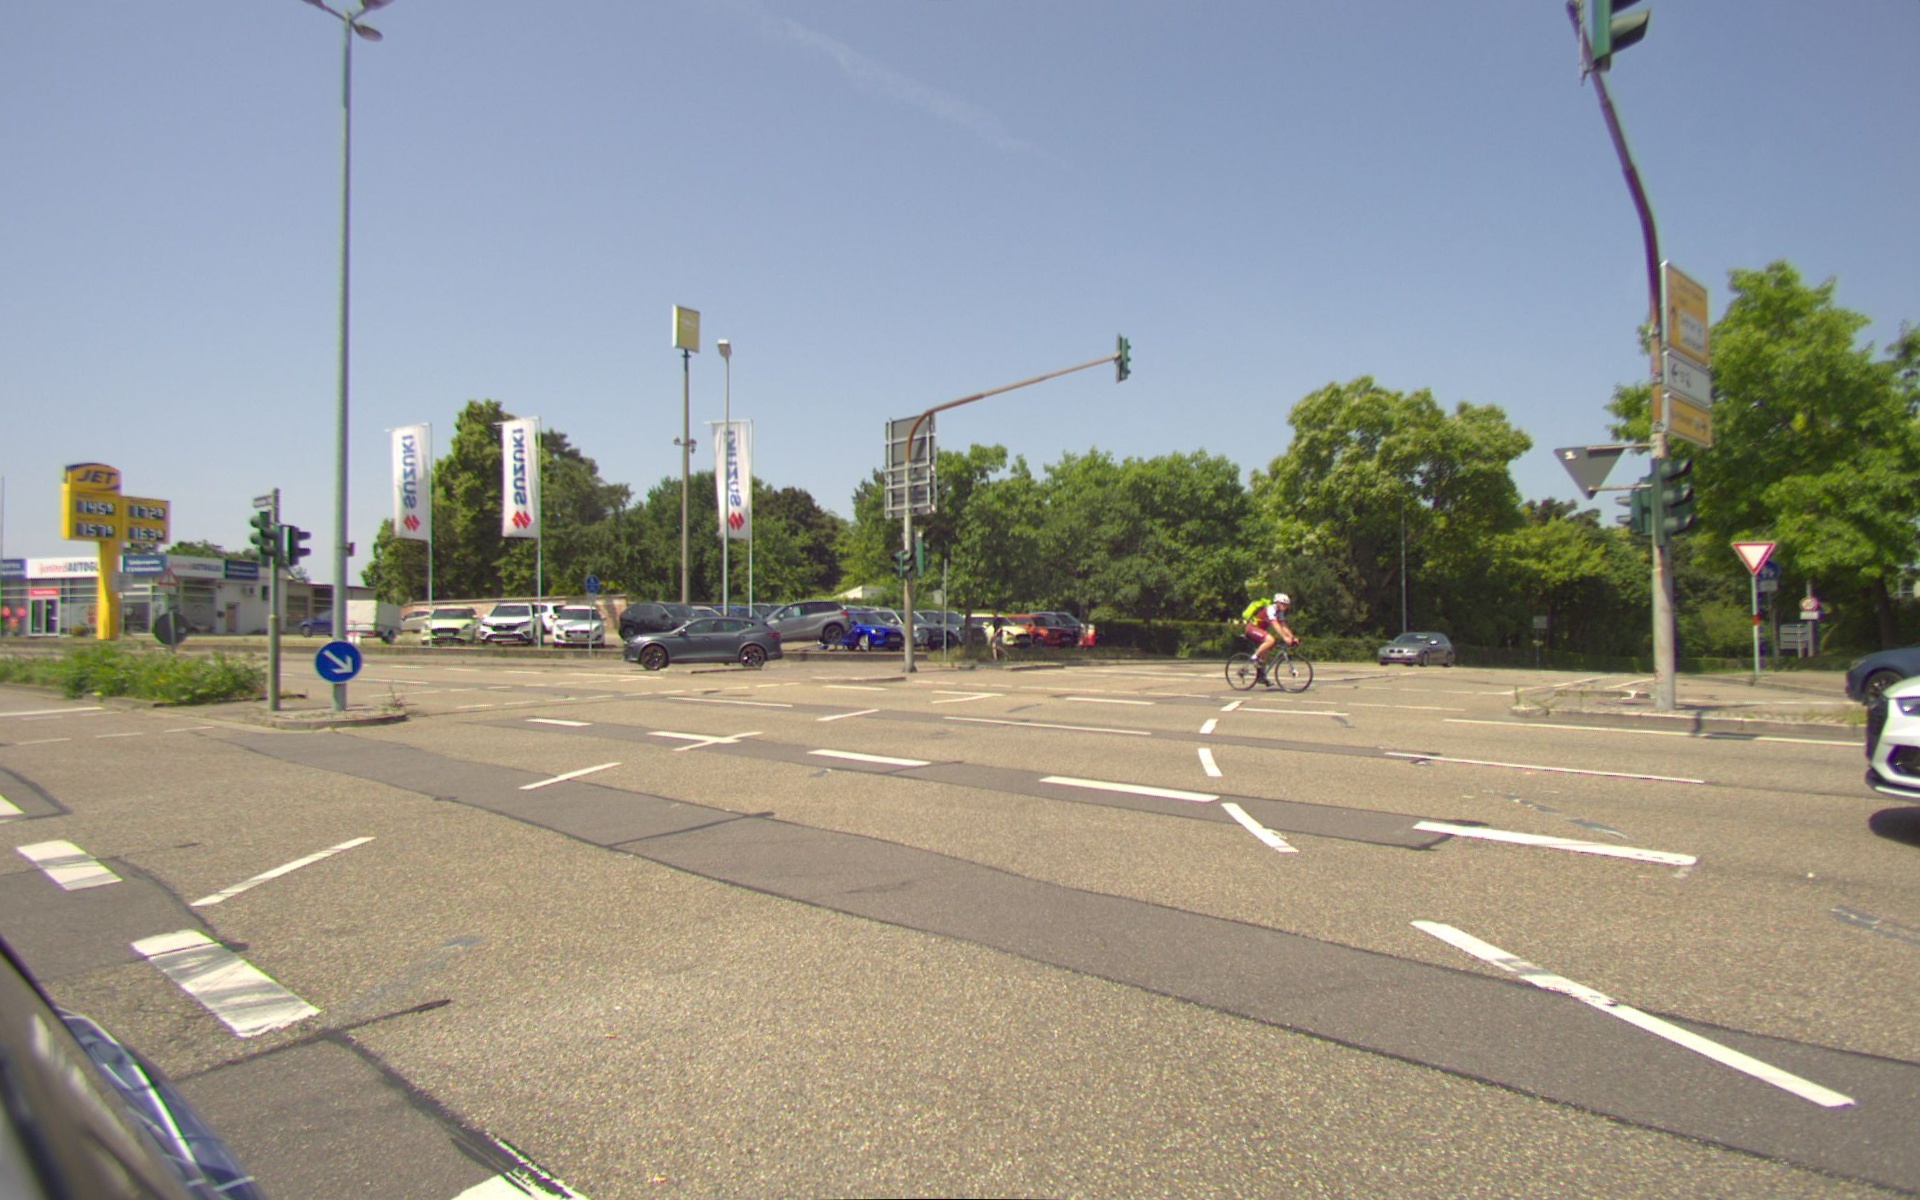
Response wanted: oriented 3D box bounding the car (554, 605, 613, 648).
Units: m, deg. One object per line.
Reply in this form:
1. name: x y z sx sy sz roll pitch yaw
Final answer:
1. car: -13.616 0.924 36.777 1.687 1.443 3.974 1 0 -16

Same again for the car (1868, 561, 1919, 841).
1. car: 7.581 0.539 5.001 4.554 1.582 1.797 -1 -2 42

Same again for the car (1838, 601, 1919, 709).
1. car: 13.828 0.734 12.682 1.471 1.460 4.280 0 0 -9

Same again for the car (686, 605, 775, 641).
1. car: -10.356 1.029 45.615 3.993 1.548 1.774 -1 0 37

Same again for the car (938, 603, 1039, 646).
1. car: 1.190 1.024 43.074 3.993 1.720 1.884 -1 0 37

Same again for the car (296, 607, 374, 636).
1. car: -33.856 1.169 54.806 3.601 1.517 1.684 -1 -1 18

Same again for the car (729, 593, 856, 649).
1. car: -6.025 0.755 36.301 4.236 1.916 1.835 1 -1 -17

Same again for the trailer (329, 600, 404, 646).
1. trailer: -22.902 0.860 39.129 1.667 1.717 2.438 -1 0 -7

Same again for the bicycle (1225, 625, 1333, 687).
1. bicycle: 5.661 0.985 18.009 1.783 1.062 0.417 -1 -1 32

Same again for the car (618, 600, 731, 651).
1. car: -10.312 0.875 36.422 4.006 1.737 1.824 0 0 36

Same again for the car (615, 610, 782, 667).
1. car: -7.264 1.110 28.367 4.367 1.497 2.009 1 -4 -13

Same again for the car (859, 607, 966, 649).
1. car: -1.901 1.062 39.767 3.993 1.548 1.774 -1 0 37

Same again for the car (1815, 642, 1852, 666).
1. car: 75.548 4.665 87.540 3.940 1.917 2.002 1 -2 -44

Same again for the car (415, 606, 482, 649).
1. car: -19.109 0.988 37.928 1.727 1.521 3.832 -1 0 -19

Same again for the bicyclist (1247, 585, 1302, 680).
1. bicyclist: 5.599 0.580 18.046 0.818 1.655 0.418 -2 -1 32

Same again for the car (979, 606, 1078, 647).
1. car: 3.001 1.139 44.680 3.993 1.696 1.846 -1 0 37

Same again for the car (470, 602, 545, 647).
1. car: -16.589 0.848 37.267 1.886 1.552 3.973 -1 0 -15

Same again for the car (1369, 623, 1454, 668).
1. car: 18.773 1.844 41.995 1.762 1.622 4.695 -1 0 44

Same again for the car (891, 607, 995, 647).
1. car: -0.735 1.103 41.580 3.992 1.582 1.819 -1 -2 36

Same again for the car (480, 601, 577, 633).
1. car: -22.764 0.906 53.422 4.714 1.662 1.686 -1 -1 16

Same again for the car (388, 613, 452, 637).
1. car: -35.160 1.636 65.902 3.601 1.517 1.611 -1 -1 18
